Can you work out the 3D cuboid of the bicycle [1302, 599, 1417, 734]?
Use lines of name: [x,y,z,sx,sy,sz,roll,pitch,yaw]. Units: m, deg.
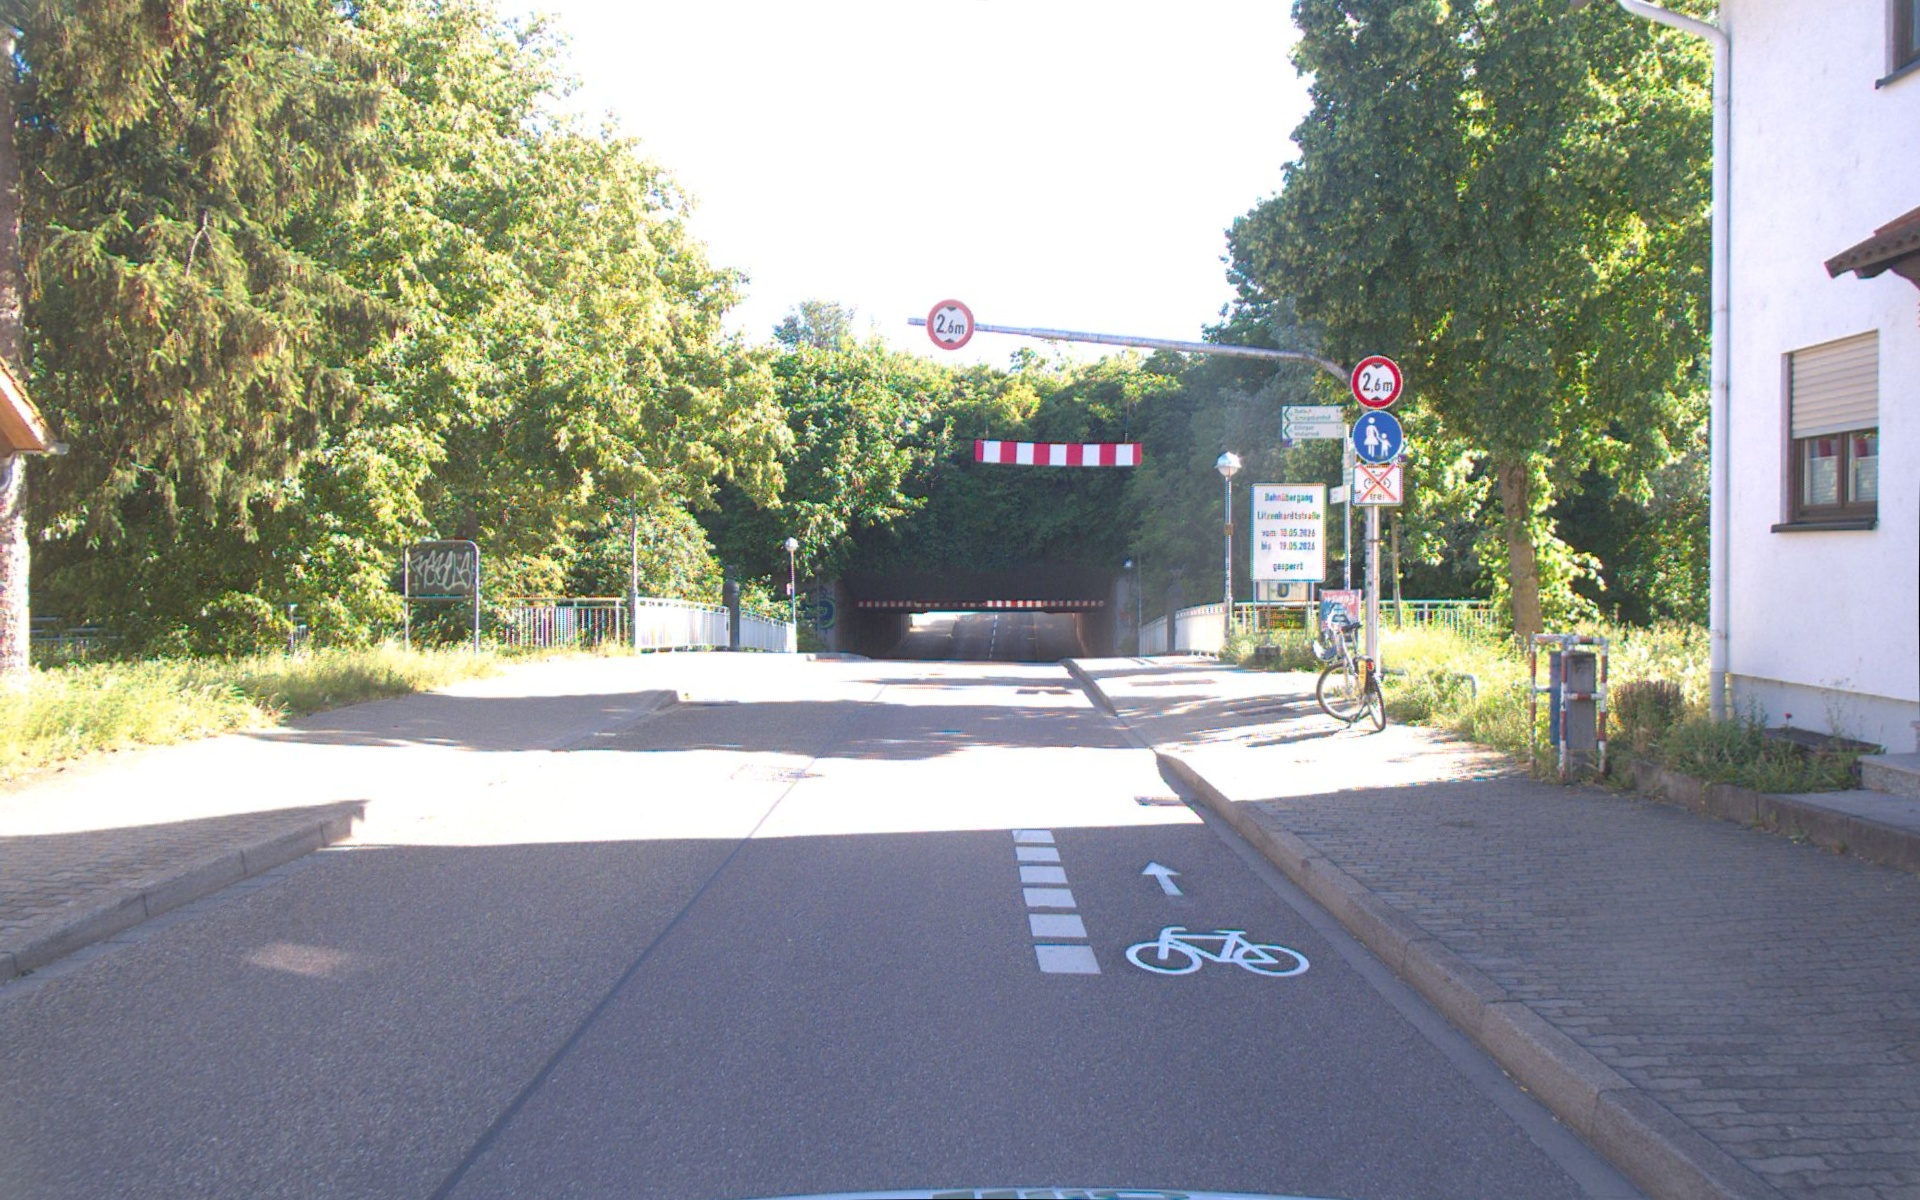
bicycle: [3.887,0.620,16.201,0.675,1.177,1.539,-5,1,0]
